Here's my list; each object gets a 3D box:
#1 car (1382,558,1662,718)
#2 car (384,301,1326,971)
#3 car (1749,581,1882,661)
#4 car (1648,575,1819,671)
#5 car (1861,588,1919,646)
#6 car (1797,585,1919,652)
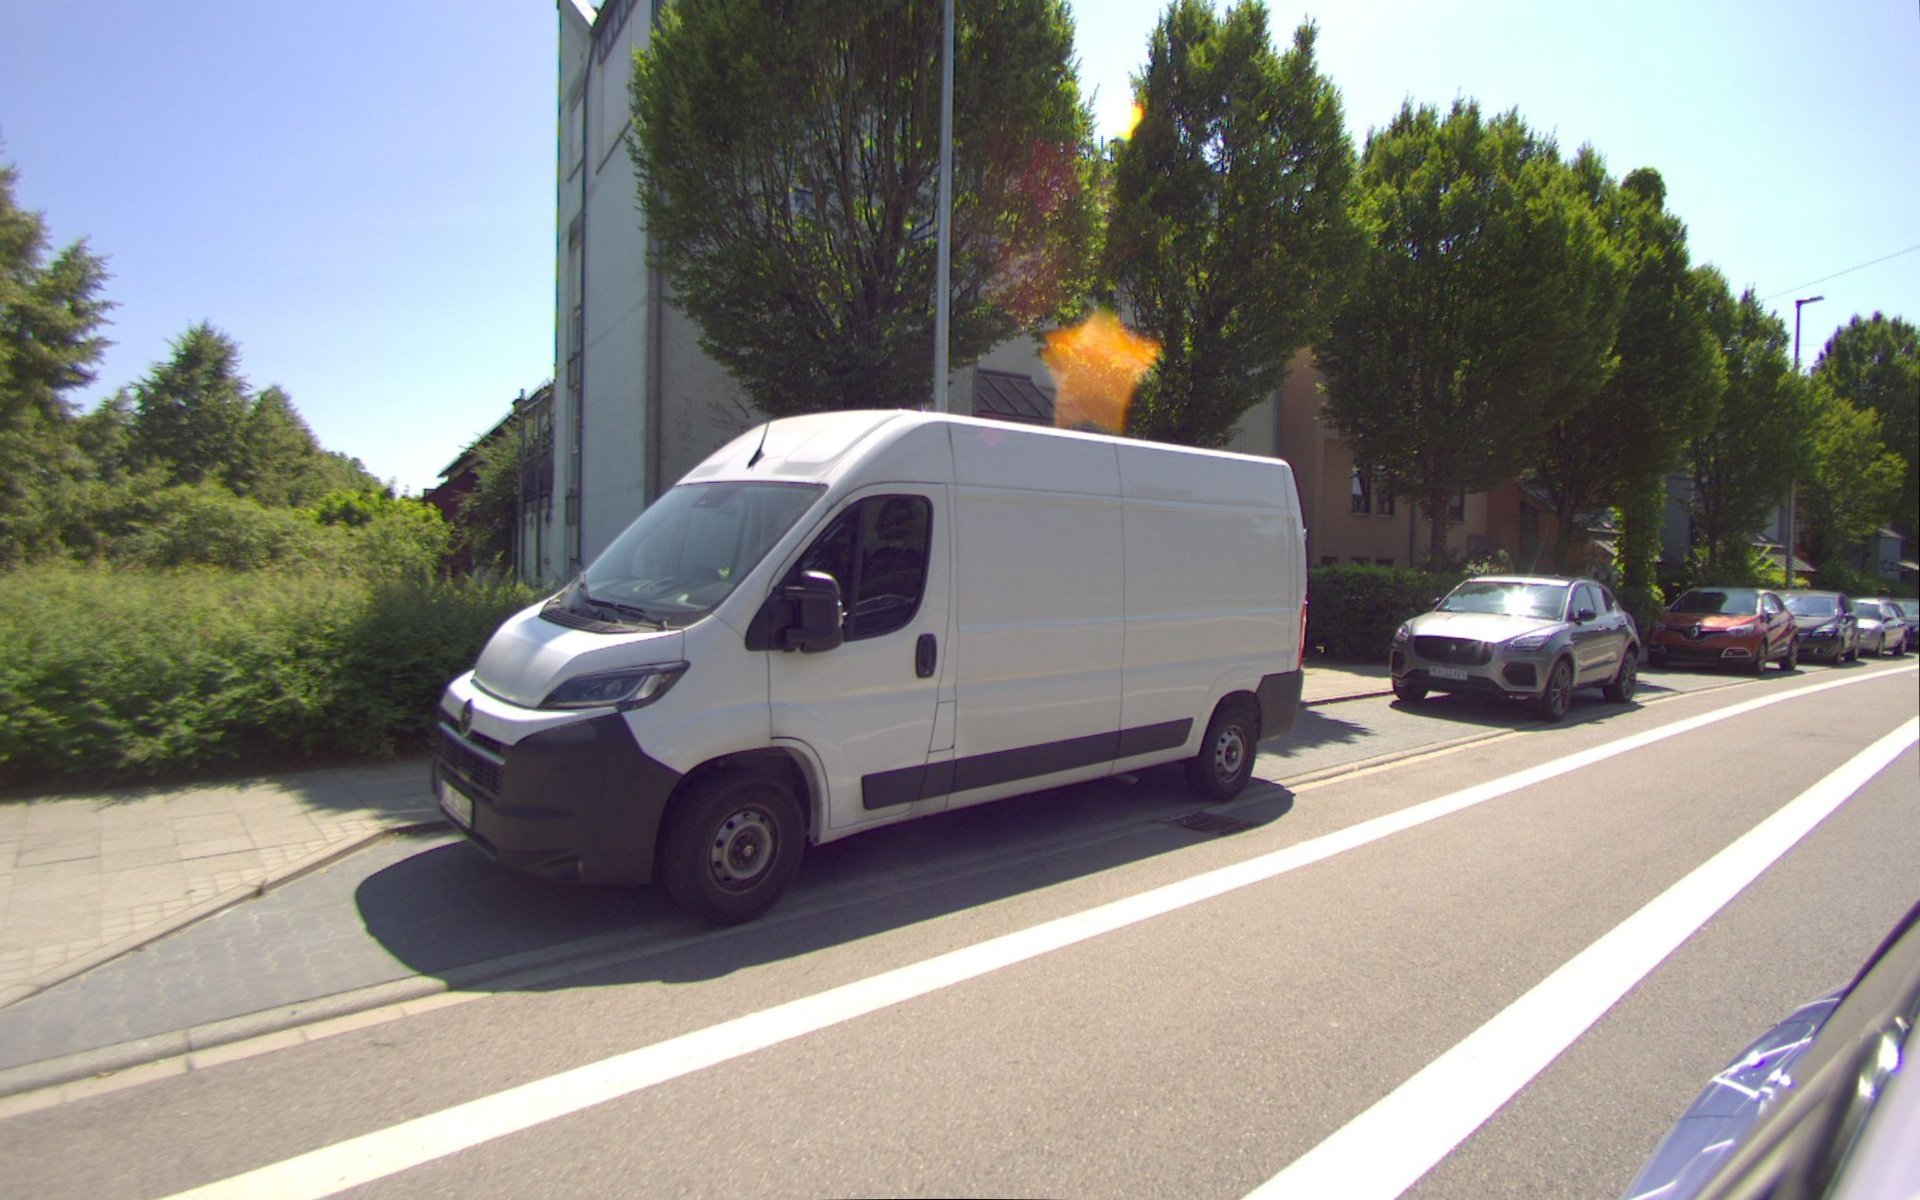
[{"bbox_3d":[7.274,0.360,12.919,4.249,1.650,1.759,-1,4,-42],"label":"car"},{"bbox_3d":[-0.100,0.048,6.530,6.006,2.486,2.004,-1,4,-43],"label":"car"},{"bbox_3d":[19.694,0.408,23.242,4.250,1.581,1.710,-1,4,-42],"label":"car"},{"bbox_3d":[15.042,0.361,19.603,4.248,1.581,1.711,-1,4,-40],"label":"car"},{"bbox_3d":[28.302,0.467,29.733,4.944,1.510,1.713,0,4,-37],"label":"car"},{"bbox_3d":[23.721,0.420,26.500,4.644,1.510,1.712,0,4,-37],"label":"car"}]
